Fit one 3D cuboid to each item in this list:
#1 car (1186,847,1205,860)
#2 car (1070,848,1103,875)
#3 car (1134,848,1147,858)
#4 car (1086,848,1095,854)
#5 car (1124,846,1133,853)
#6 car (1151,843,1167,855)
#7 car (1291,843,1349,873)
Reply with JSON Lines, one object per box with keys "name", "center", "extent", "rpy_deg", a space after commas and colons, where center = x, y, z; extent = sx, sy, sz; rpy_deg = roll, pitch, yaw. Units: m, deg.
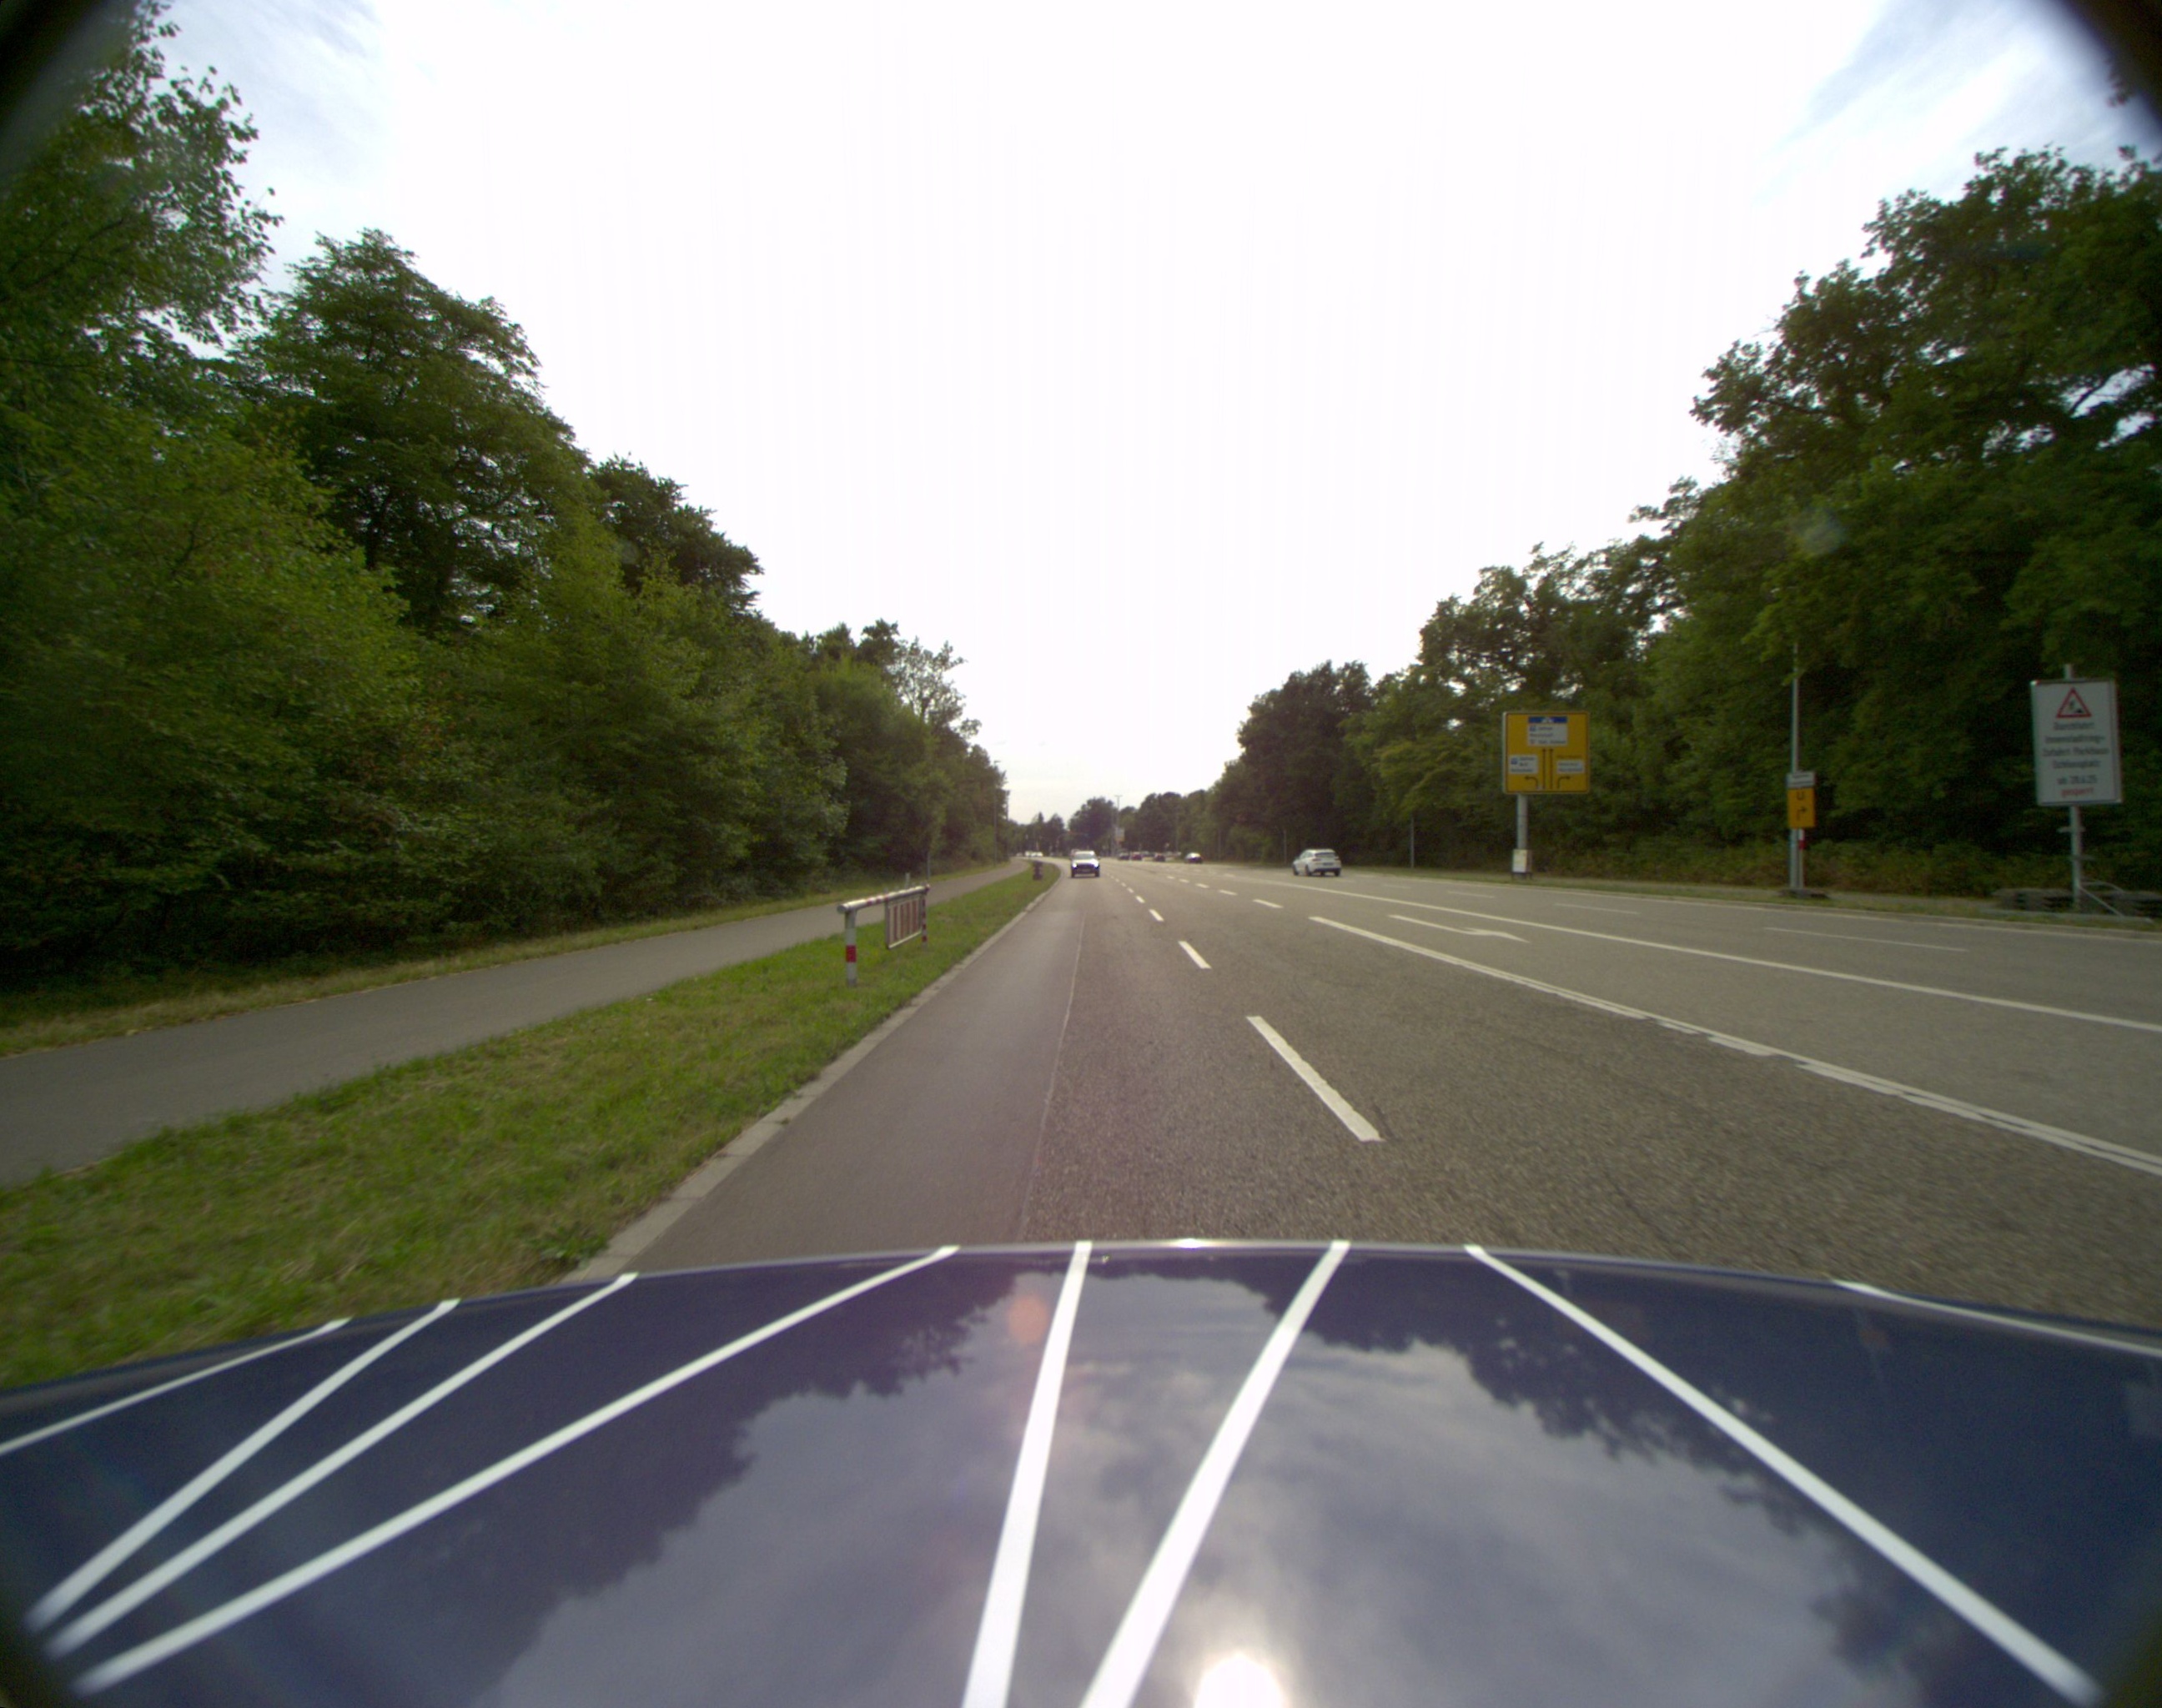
{"name": "car", "center": [15.380, -0.053, 102.208], "extent": [1.999, 1.585, 3.999], "rpy_deg": [-3, 1, 0]}
{"name": "car", "center": [0.356, 0.432, 49.505], "extent": [1.999, 1.565, 3.999], "rpy_deg": [-3, 1, 0]}
{"name": "car", "center": [12.080, -0.205, 153.912], "extent": [1.999, 1.871, 3.998], "rpy_deg": [-3, 1, -2]}
{"name": "car", "center": [2.584, -0.829, 207.019], "extent": [1.999, 1.718, 3.998], "rpy_deg": [-1, 0, -4]}
{"name": "car", "center": [9.198, -0.799, 148.369], "extent": [1.400, 1.263, 3.777], "rpy_deg": [-3, 1, -2]}
{"name": "car", "center": [13.061, -0.923, 127.782], "extent": [1.999, 1.871, 3.998], "rpy_deg": [-3, 1, -3]}
{"name": "car", "center": [13.510, 0.172, 43.264], "extent": [1.939, 1.492, 4.591], "rpy_deg": [-3, 1, 2]}
